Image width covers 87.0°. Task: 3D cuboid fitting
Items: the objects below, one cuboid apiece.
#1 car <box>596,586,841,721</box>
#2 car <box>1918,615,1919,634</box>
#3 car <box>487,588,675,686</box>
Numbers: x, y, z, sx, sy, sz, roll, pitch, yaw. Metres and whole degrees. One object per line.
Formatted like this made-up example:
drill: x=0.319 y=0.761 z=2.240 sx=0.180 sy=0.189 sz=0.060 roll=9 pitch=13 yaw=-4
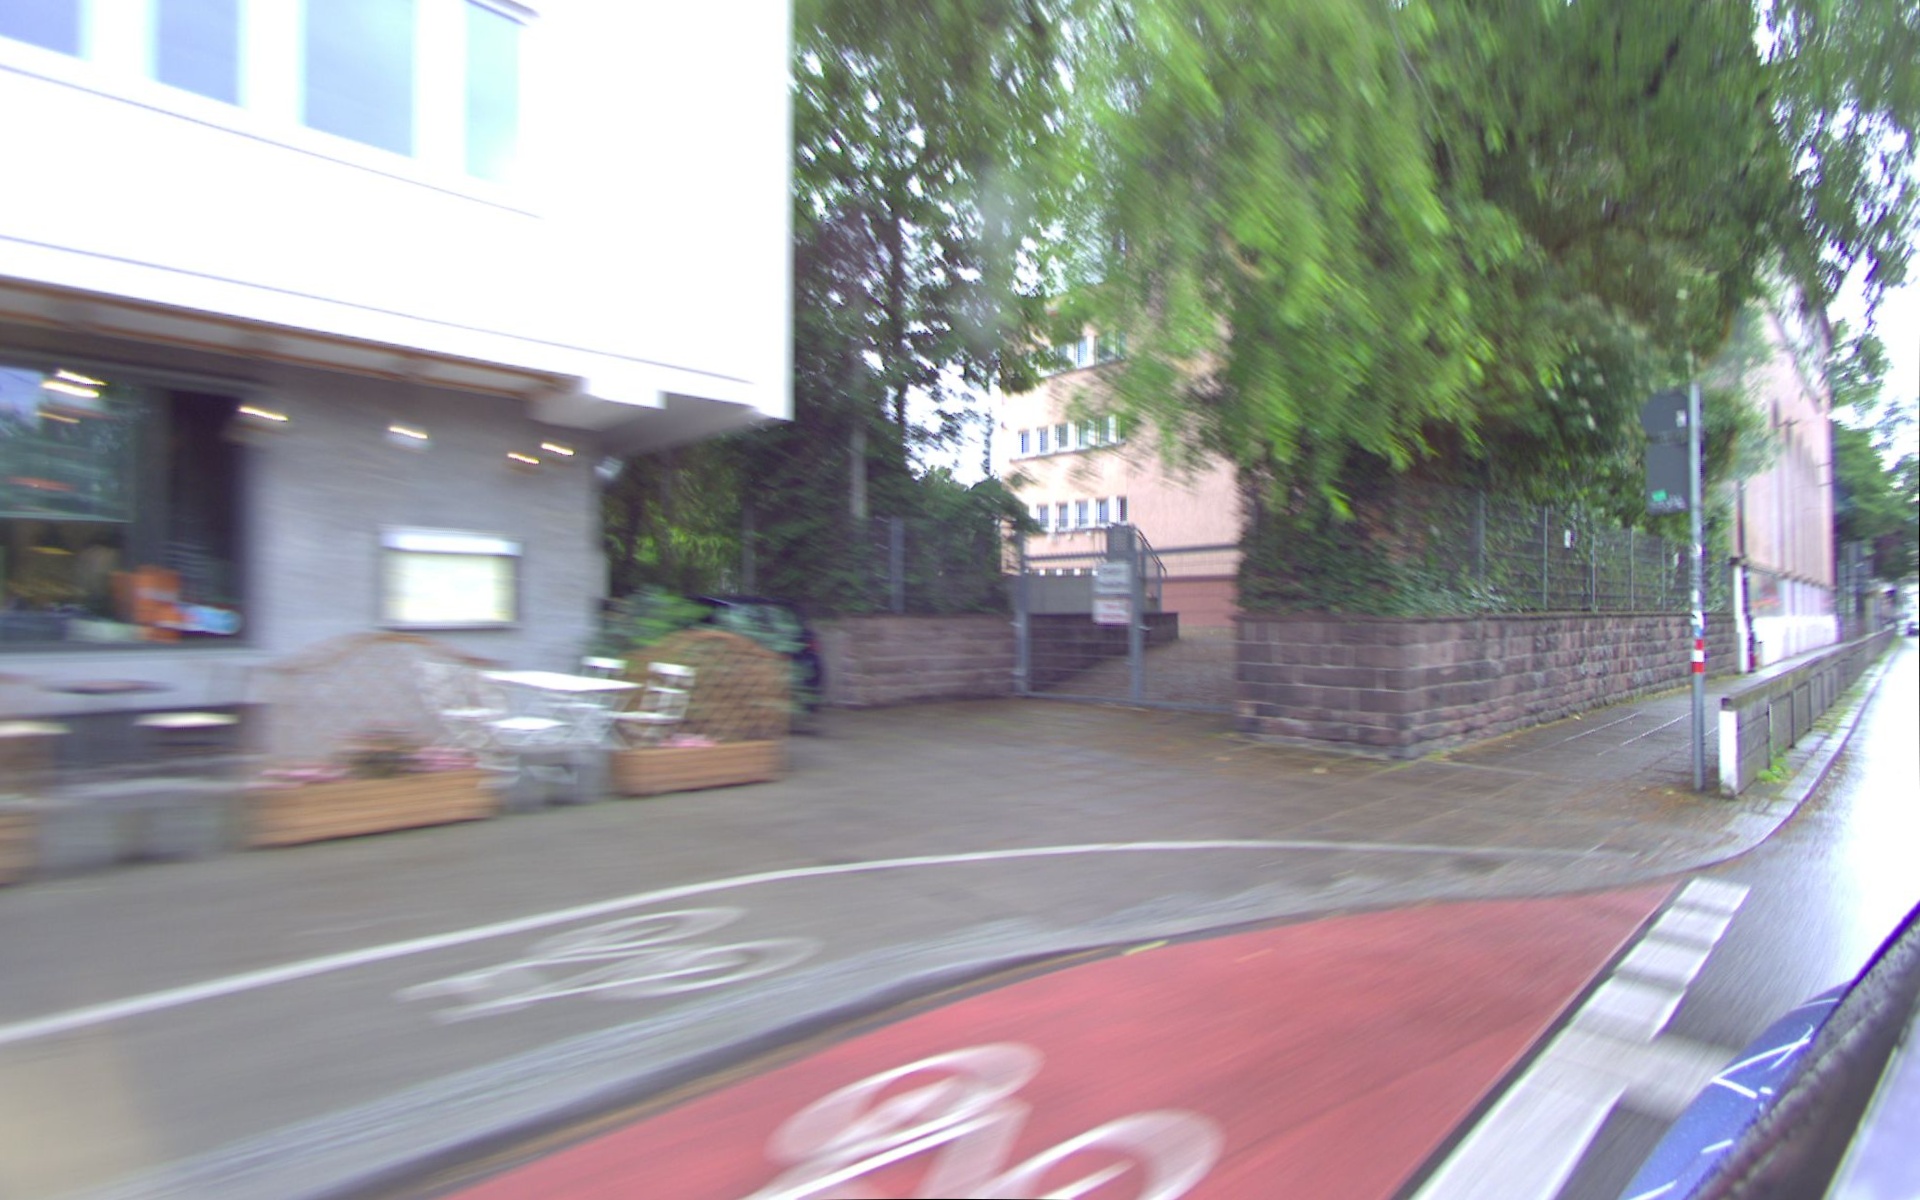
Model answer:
car: x=-3.272 y=0.605 z=13.452 sx=1.772 sy=1.526 sz=3.187 roll=1 pitch=0 yaw=-44
car: x=80.473 y=2.002 z=83.673 sx=1.754 sy=1.550 sz=4.266 roll=-1 pitch=-1 yaw=43
car: x=-6.126 y=0.522 z=16.221 sx=1.654 sy=1.380 sz=3.212 roll=1 pitch=0 yaw=-44
